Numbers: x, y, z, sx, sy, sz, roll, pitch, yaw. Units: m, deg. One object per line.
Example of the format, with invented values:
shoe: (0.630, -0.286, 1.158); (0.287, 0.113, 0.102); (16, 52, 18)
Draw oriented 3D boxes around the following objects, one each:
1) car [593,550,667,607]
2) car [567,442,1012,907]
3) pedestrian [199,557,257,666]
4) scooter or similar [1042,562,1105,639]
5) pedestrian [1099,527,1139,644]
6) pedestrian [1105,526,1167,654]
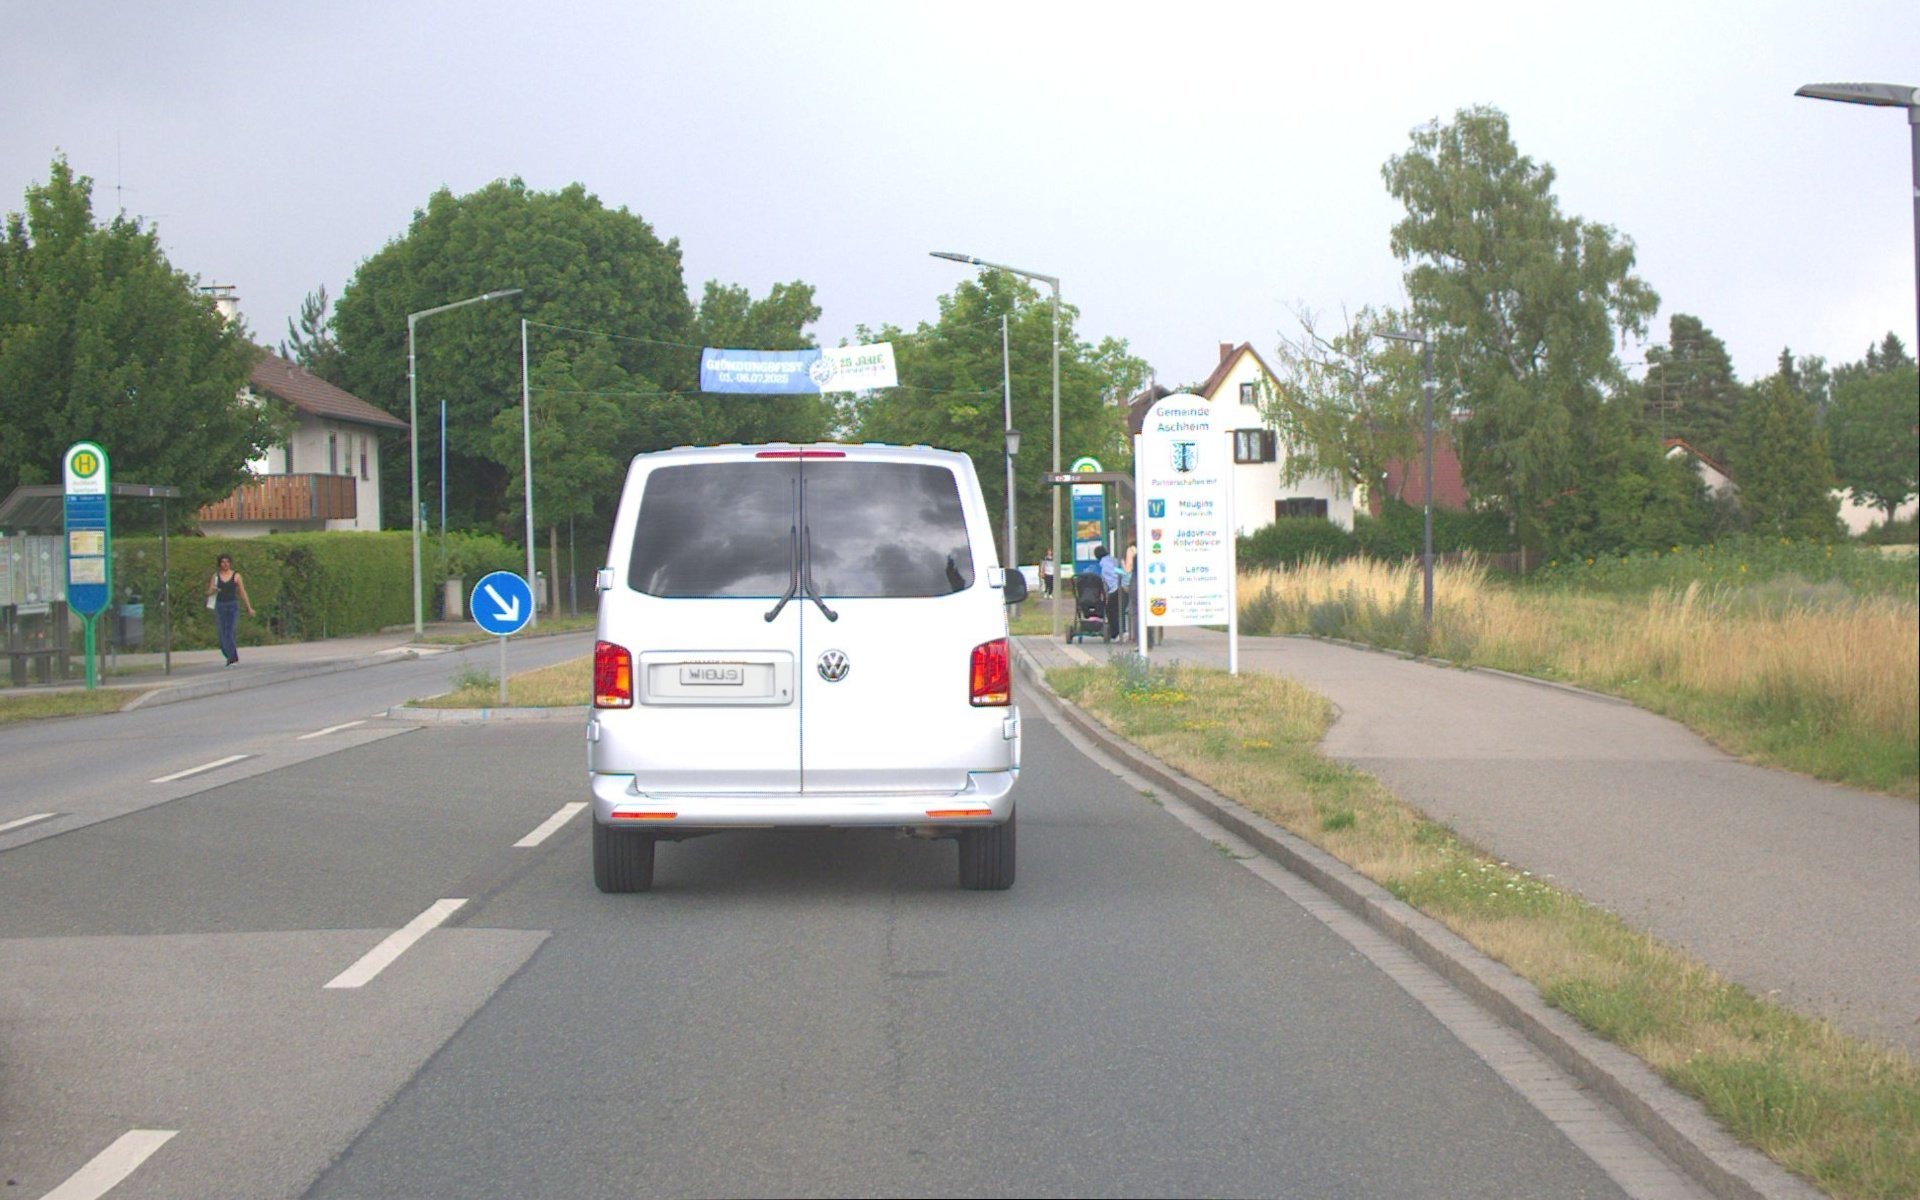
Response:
car: (-8.893, -0.592, 92.759); (1.653, 1.424, 3.602); (-3, 1, -1)
car: (-0.781, 0.267, 16.132); (1.825, 1.907, 4.001); (0, 1, -2)
pedestrian: (-10.485, 0.159, 49.227); (0.623, 1.519, 0.680); (-3, 1, -1)
scooter or similar: (1.697, 0.000, 51.646); (0.848, 1.100, 1.094); (-3, 1, 0)
pedestrian: (2.396, -0.224, 51.787); (0.485, 1.726, 0.642); (-3, 1, -1)
pedestrian: (2.431, -0.137, 47.430); (0.641, 1.726, 0.486); (-2, 1, 27)
